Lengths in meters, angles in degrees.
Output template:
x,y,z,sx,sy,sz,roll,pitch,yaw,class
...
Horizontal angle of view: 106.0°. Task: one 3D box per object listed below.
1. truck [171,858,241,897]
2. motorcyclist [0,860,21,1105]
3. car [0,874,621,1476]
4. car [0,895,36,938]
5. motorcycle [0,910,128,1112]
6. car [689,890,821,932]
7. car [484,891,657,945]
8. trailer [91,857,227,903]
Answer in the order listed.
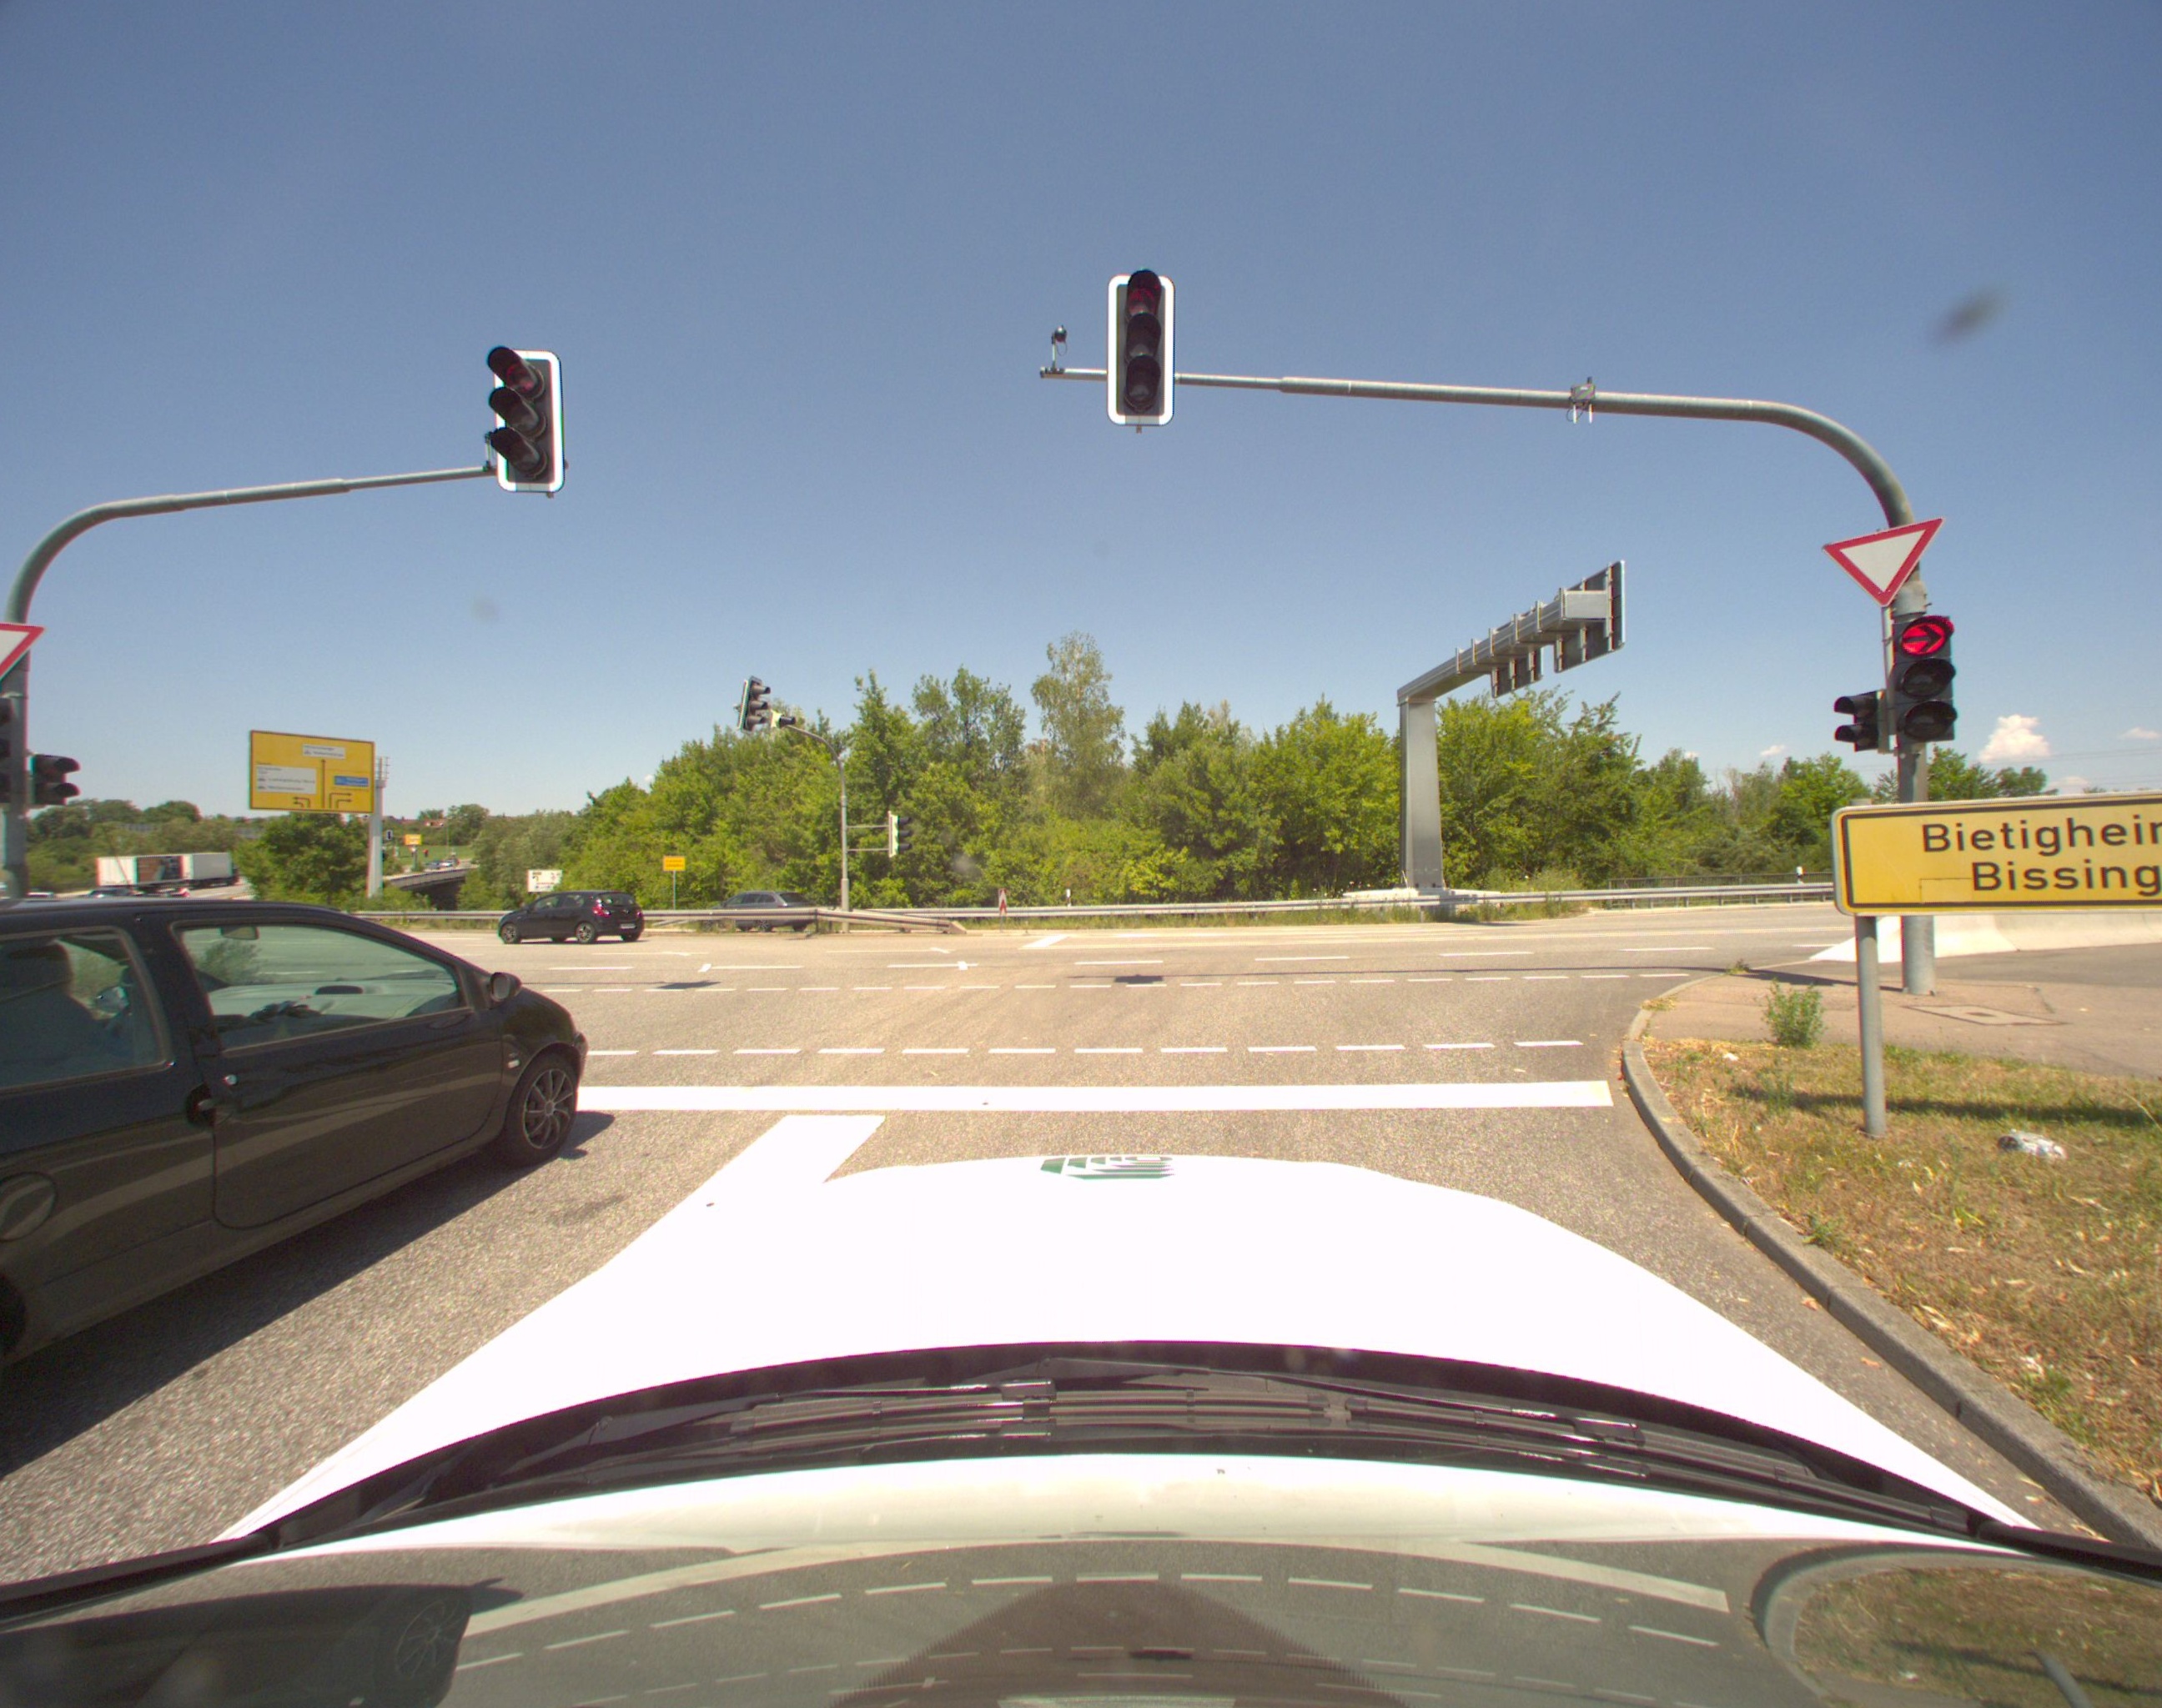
x,y,z,sx,sy,sz,roll,pitch,yaw,class
-100.622,2.576,93.784,3.246,4.248,6.189,0,0,-23,truck
-7.101,0.801,4.772,0.609,1.540,0.846,0,-2,-1,motorcyclist
-3.448,0.824,3.021,1.614,1.407,3.299,-1,0,-1,car
-45.814,2.642,34.279,3.948,1.732,1.897,-2,-2,33,car
-7.089,0.997,4.827,0.574,1.238,1.940,0,-1,-1,motorcycle
-11.874,2.073,29.662,4.361,1.434,1.820,-2,-4,21,car
-14.169,1.761,22.693,3.888,1.434,1.818,-1,-3,13,car
-97.654,2.587,86.801,3.245,4.248,15.290,0,0,-23,trailer
